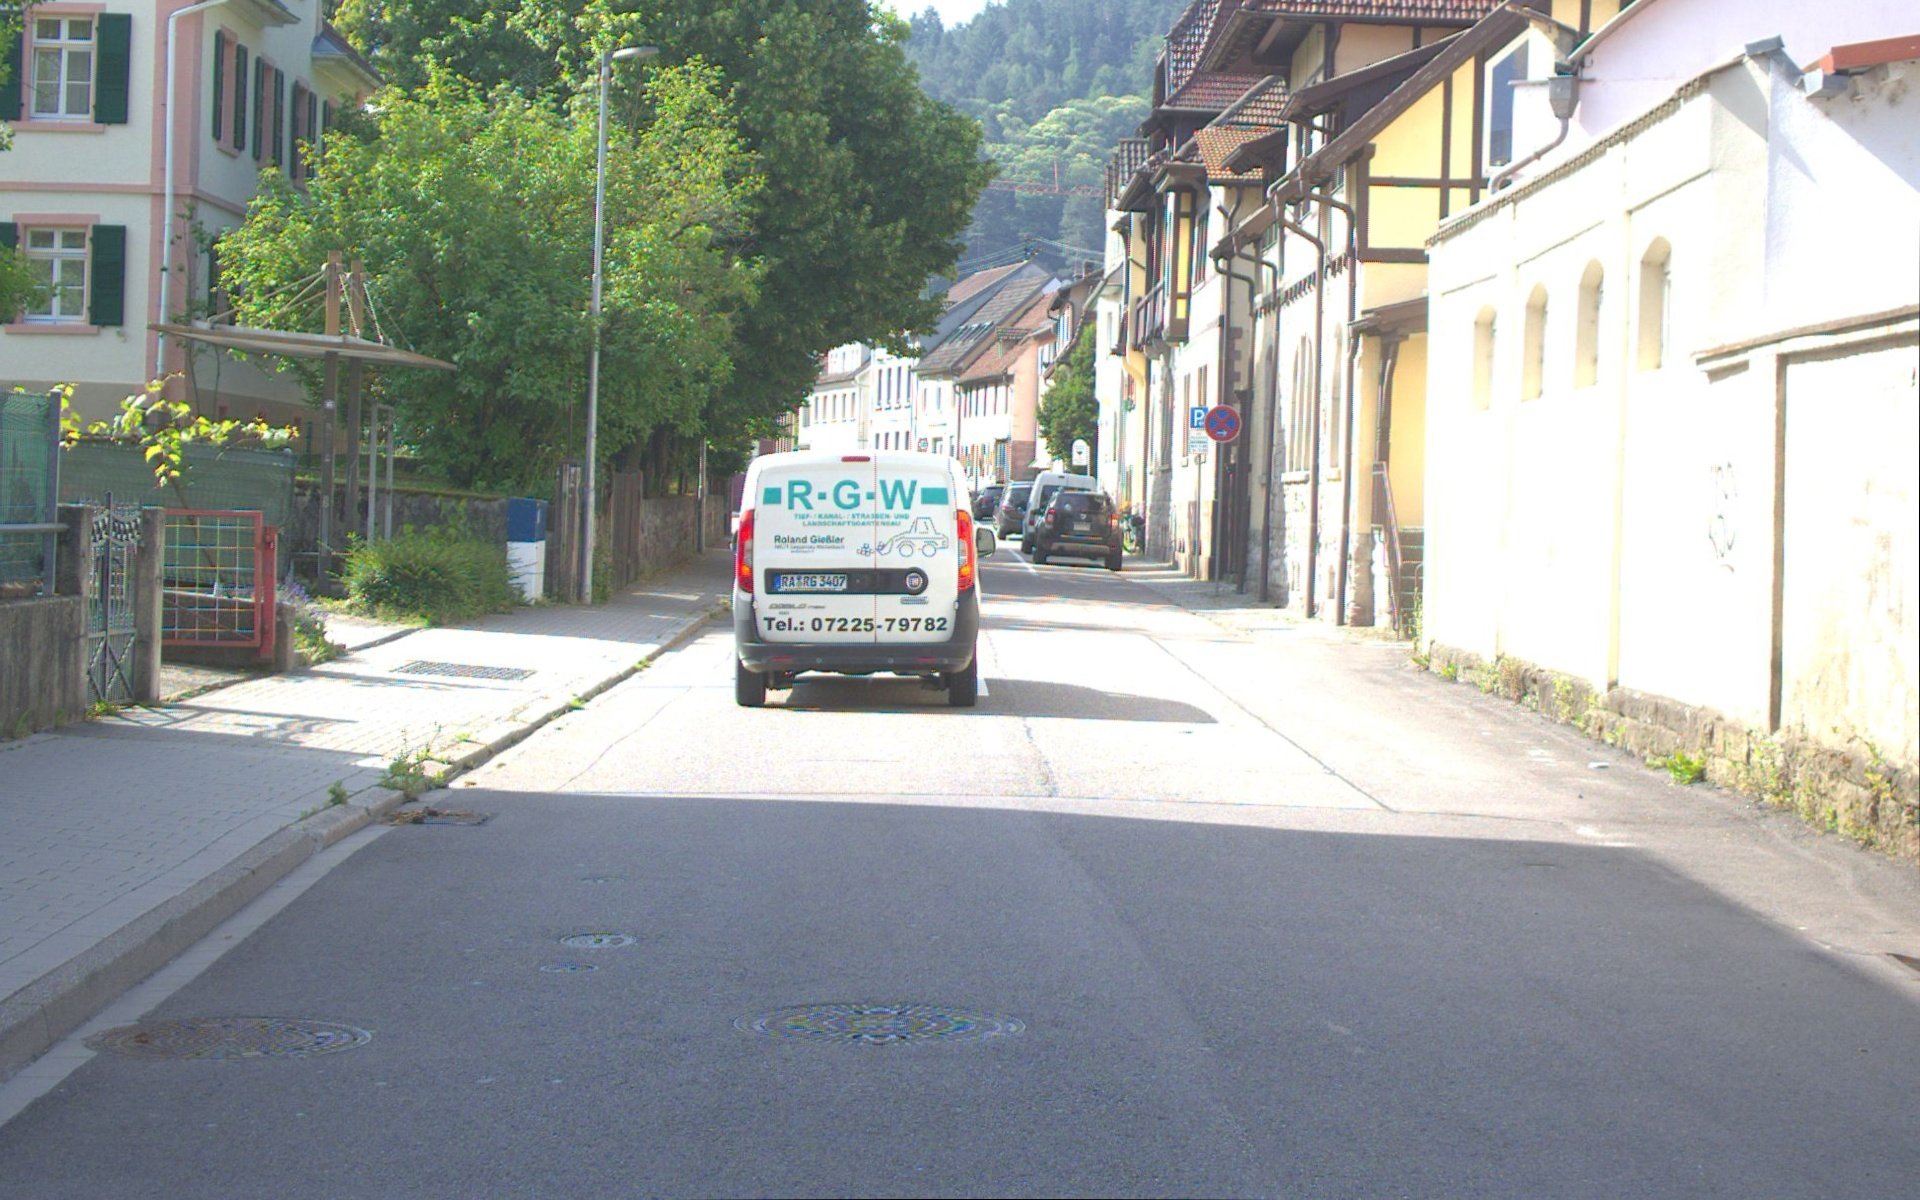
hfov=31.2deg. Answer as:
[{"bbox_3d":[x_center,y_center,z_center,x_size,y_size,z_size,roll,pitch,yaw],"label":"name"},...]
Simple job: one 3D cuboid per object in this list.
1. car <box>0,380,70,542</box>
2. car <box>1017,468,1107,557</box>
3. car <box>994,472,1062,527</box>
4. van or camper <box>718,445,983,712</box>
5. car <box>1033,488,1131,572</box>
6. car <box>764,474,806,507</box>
[{"bbox_3d":[-11.378,-1.618,38.142,1.823,1.766,4.683,6,2,-2],"label":"car"},{"bbox_3d":[2.445,-2.127,83.270,1.871,2.006,4.001,3,2,-1],"label":"car"},{"bbox_3d":[1.954,-2.916,99.671,1.669,1.503,4.001,1,2,-2],"label":"car"},{"bbox_3d":[-0.825,-0.212,26.120,1.828,1.838,4.189,1,2,-2],"label":"van or camper"},{"bbox_3d":[2.562,-1.518,73.088,1.810,1.591,3.927,4,2,0],"label":"car"},{"bbox_3d":[-10.108,-6.350,198.548,1.771,1.792,4.002,2,2,-12],"label":"car"}]
